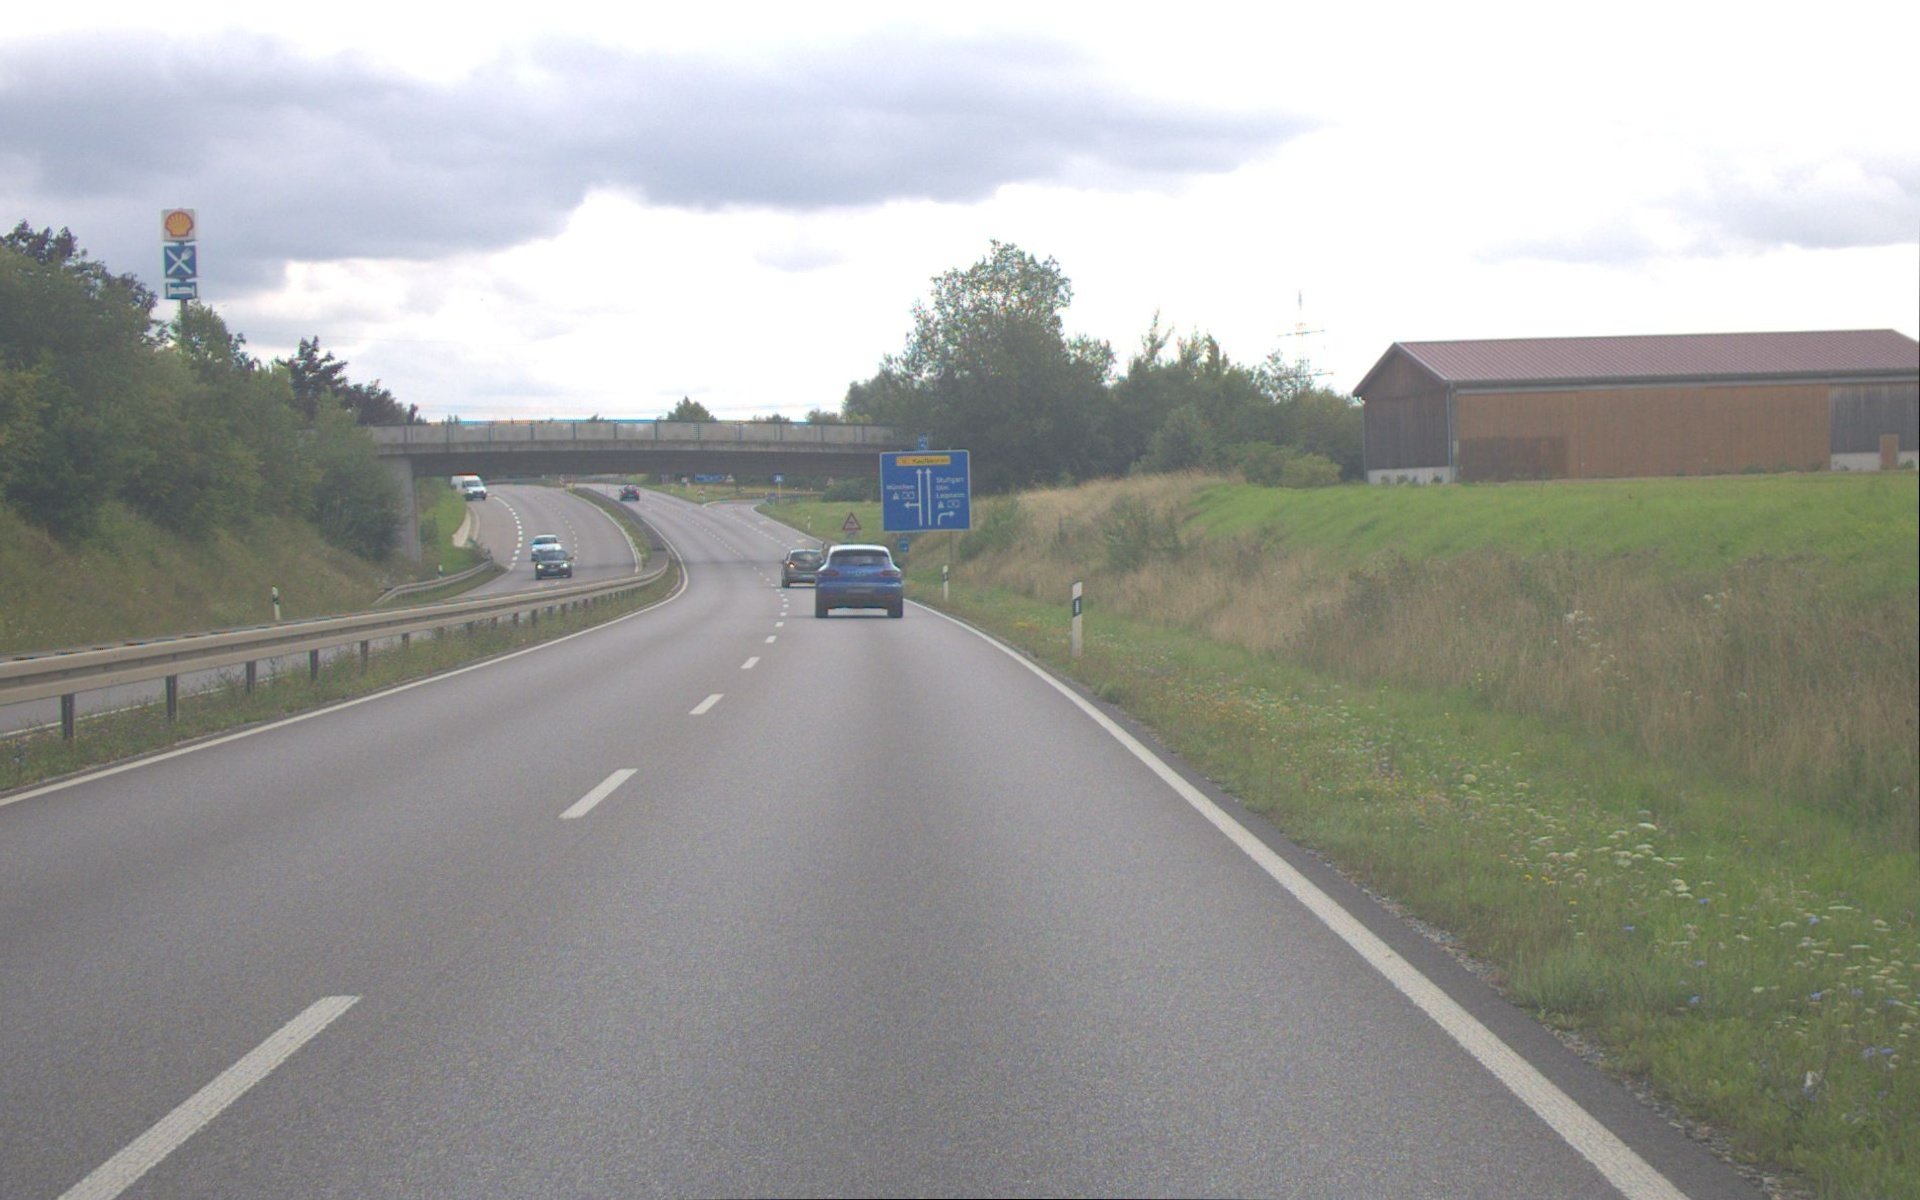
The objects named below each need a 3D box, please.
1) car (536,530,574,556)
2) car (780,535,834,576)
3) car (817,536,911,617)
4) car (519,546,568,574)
[{"bbox_3d":[-24.353,-3.419,206.648,1.993,1.448,4.001,-2,2,-3],"label":"car"},{"bbox_3d":[-6.027,-1.755,135.178,1.917,1.448,4.365,-2,2,-4],"label":"car"},{"bbox_3d":[-2.144,-0.555,76.751,2.033,1.654,4.544,0,2,-1],"label":"car"},{"bbox_3d":[-20.622,-2.005,170.518,1.993,1.300,4.822,-1,1,-2],"label":"car"}]
